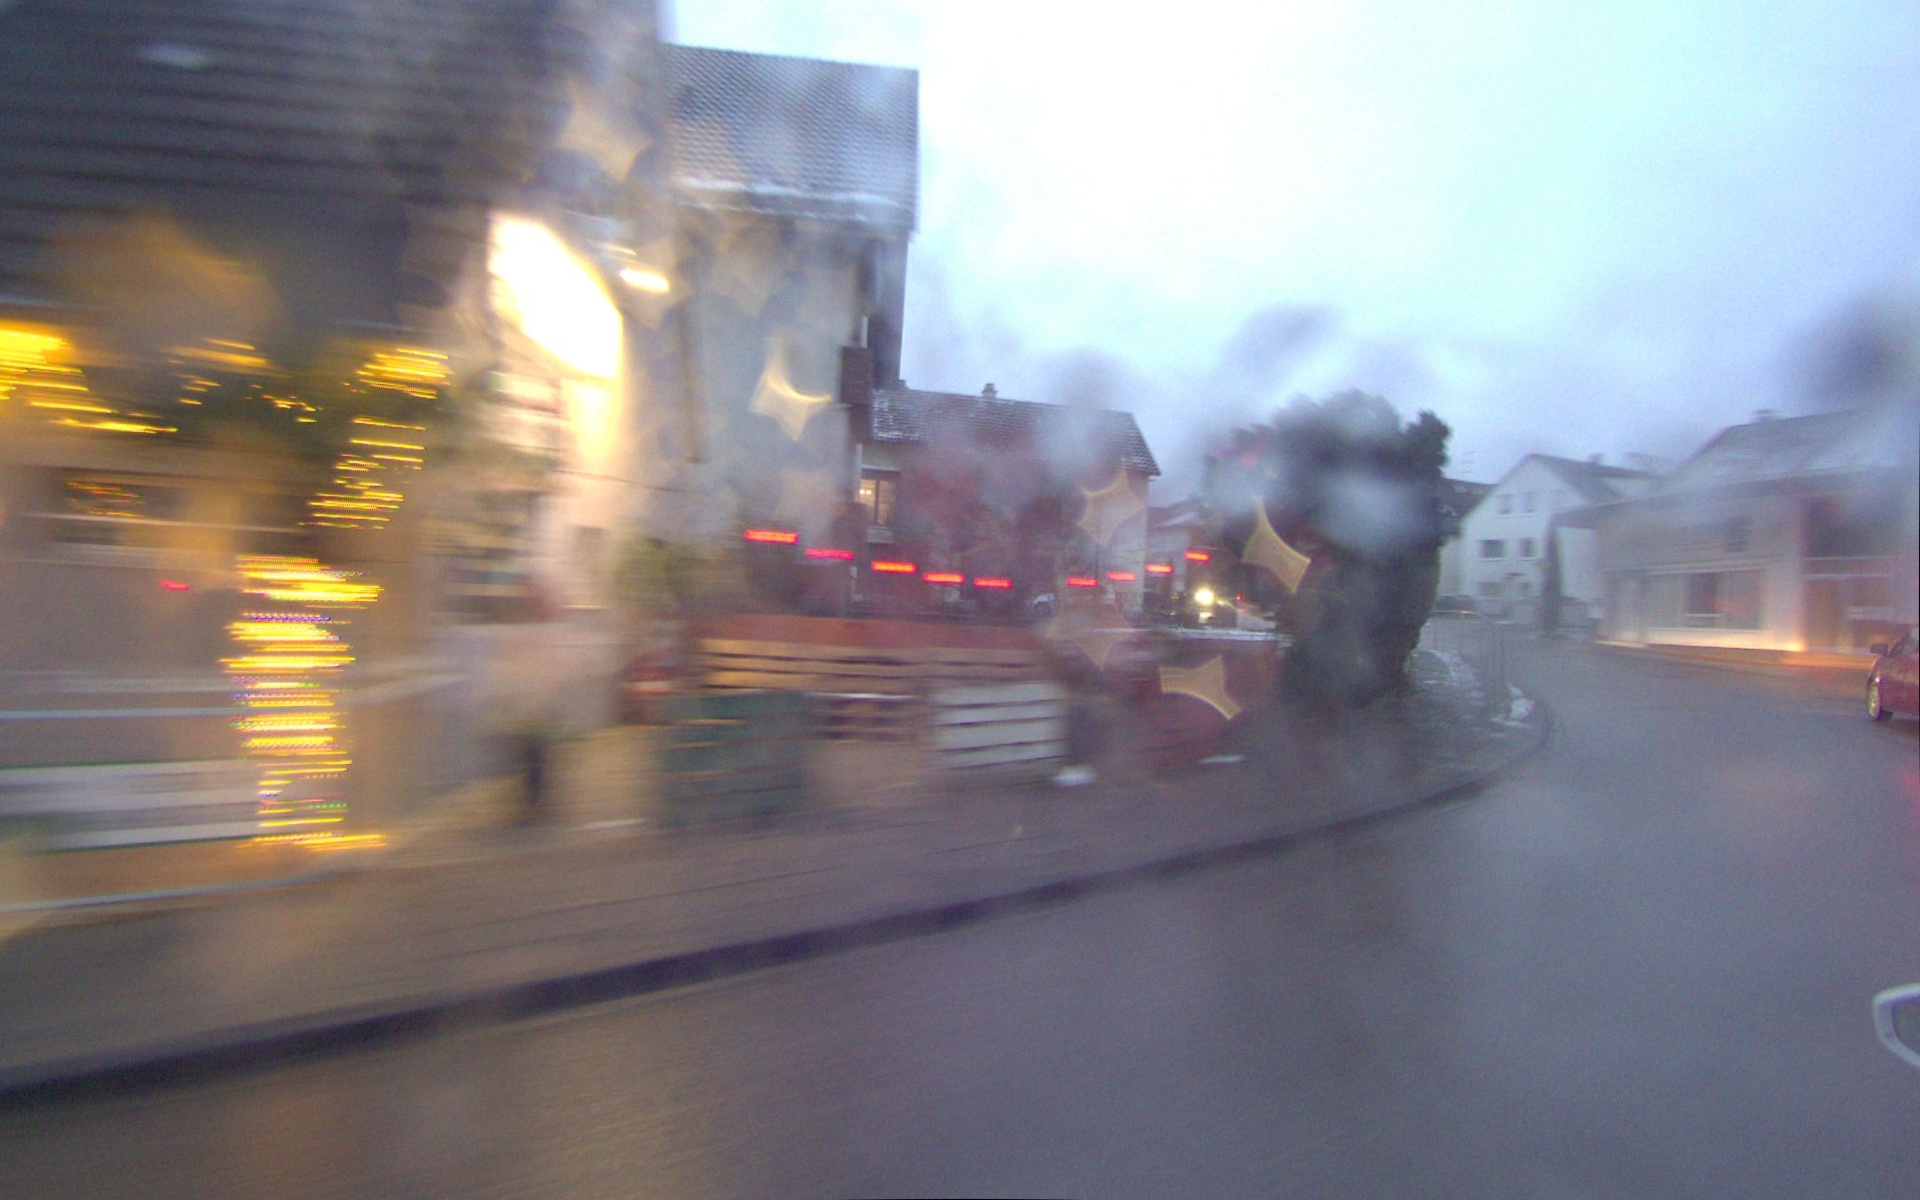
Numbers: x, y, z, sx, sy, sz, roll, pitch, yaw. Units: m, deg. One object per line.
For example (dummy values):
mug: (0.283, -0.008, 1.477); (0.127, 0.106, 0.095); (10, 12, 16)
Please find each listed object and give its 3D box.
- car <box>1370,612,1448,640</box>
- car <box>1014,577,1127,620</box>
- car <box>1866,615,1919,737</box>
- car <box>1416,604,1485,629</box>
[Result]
car: (28.897, 1.634, 64.789); (1.791, 1.650, 4.521); (-1, 0, -26)
car: (4.190, -0.045, 38.358); (3.928, 1.482, 1.817); (2, 0, -10)
car: (13.034, 0.959, 12.859); (1.524, 1.485, 3.689); (1, 0, 33)
car: (33.452, 1.086, 68.596); (1.791, 1.587, 3.973); (-1, 0, -26)
